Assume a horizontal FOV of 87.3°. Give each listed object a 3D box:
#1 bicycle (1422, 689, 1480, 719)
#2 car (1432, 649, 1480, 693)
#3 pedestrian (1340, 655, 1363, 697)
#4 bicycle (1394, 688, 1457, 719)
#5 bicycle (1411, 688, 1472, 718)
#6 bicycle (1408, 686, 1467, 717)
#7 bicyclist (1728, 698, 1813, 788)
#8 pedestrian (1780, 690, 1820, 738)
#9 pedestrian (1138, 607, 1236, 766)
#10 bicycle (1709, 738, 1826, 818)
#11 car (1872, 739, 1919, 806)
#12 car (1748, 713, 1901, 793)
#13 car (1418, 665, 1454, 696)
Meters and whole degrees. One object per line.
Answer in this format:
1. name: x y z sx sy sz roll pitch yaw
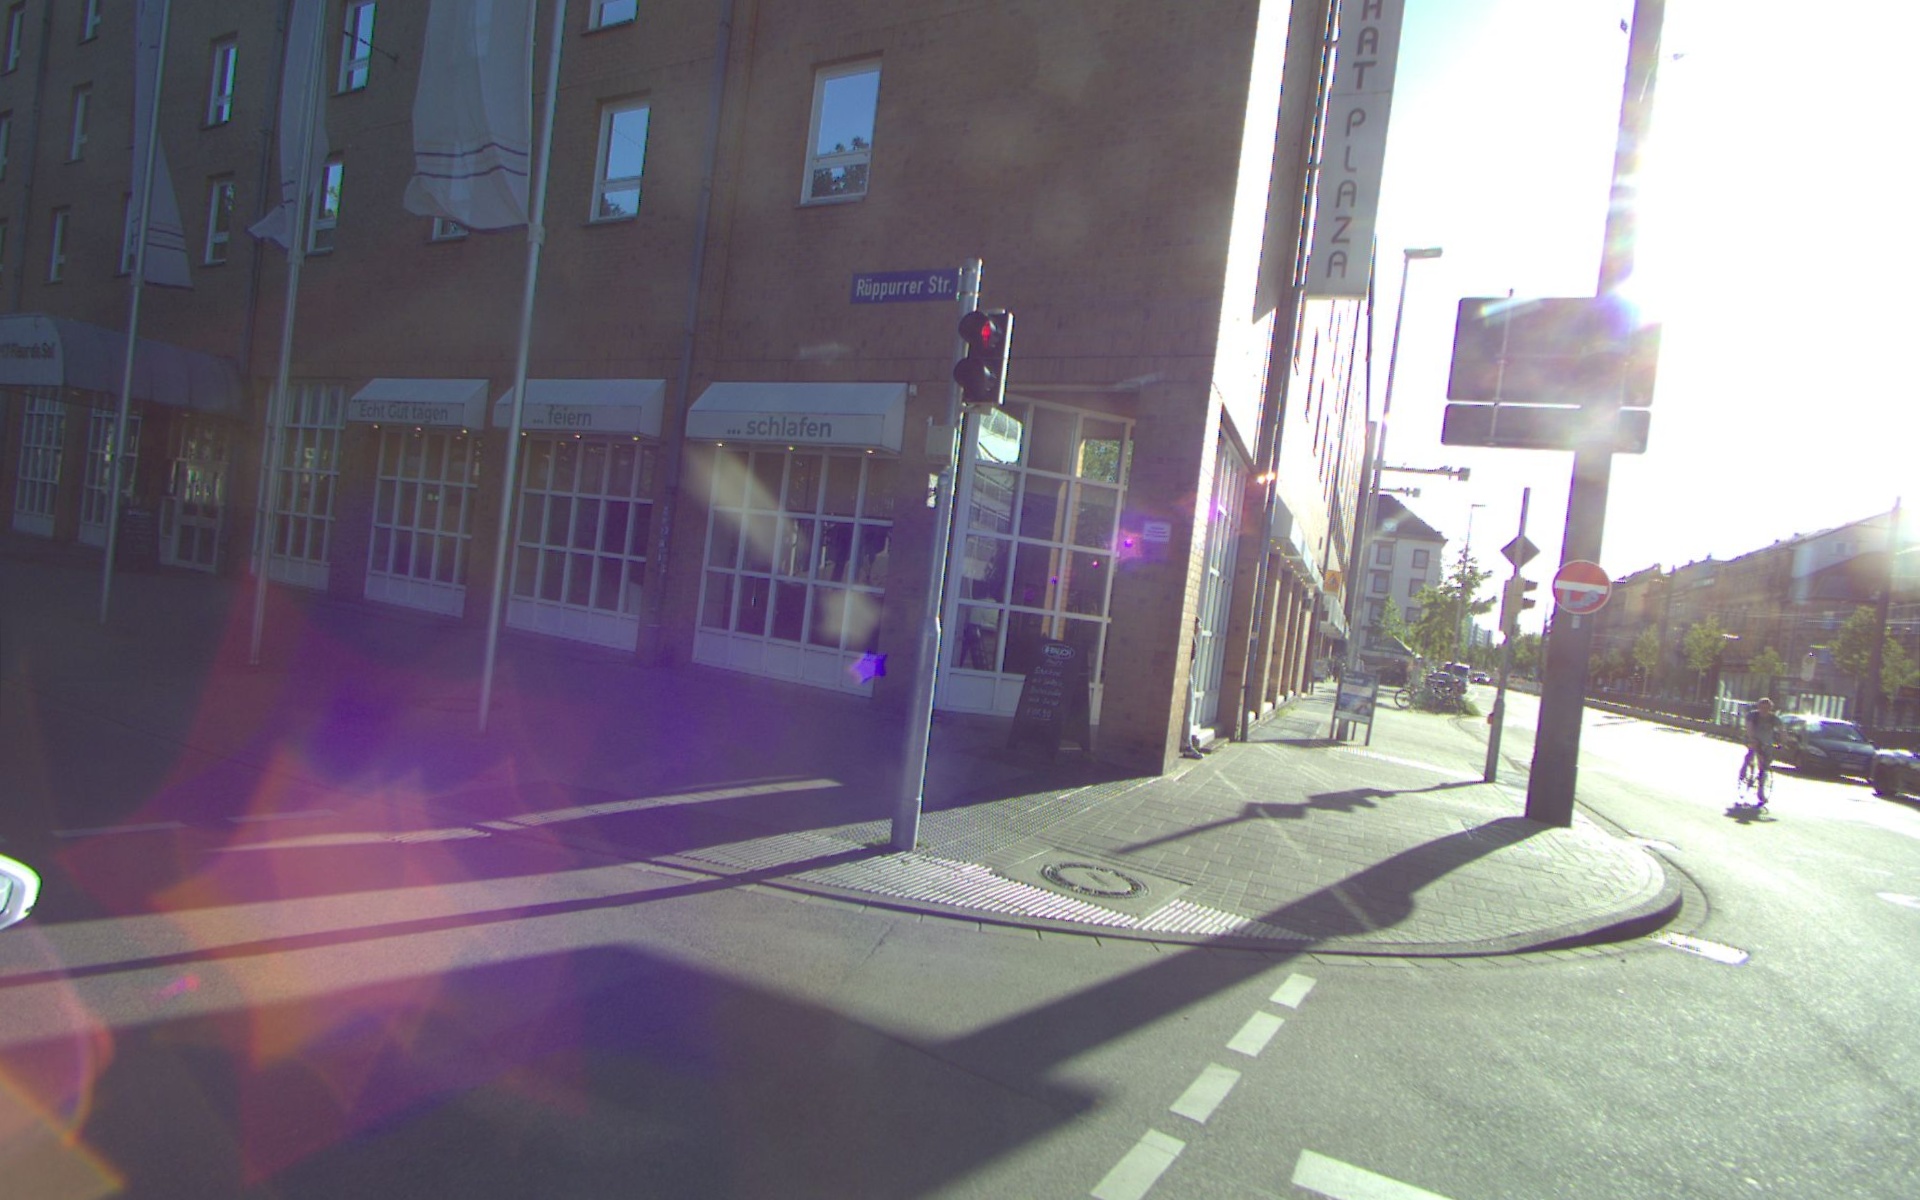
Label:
1. bicycle: 20.021 4.236 41.025 2.007 0.932 0.481 7 1 33
2. car: 41.228 5.820 83.848 2.340 3.036 8.467 7 0 20
3. pedestrian: 17.271 3.343 44.364 0.706 1.786 0.565 6 1 25
4. bicycle: 17.498 3.887 37.835 2.007 0.856 0.481 7 1 33
5. bicycle: 18.621 3.969 38.924 2.007 0.856 0.481 7 1 33
6. bicycle: 19.090 4.062 40.226 2.007 0.932 0.481 7 1 33
7. bicyclist: 14.298 2.506 17.777 0.797 1.394 0.925 7 1 21
8. pedestrian: 36.624 4.963 43.880 0.847 1.911 0.737 8 2 12
9. pedestrian: 2.626 0.985 11.632 0.728 1.687 0.751 7 2 30
10. bicycle: 14.265 3.108 17.870 0.797 1.003 2.508 7 0 21
11. car: 21.490 3.854 21.221 1.811 1.284 4.229 5 -1 21
12. car: 24.333 4.243 28.512 1.811 1.632 4.229 5 -1 21
13. car: 32.124 5.395 67.953 1.811 1.858 4.106 5 -1 22
